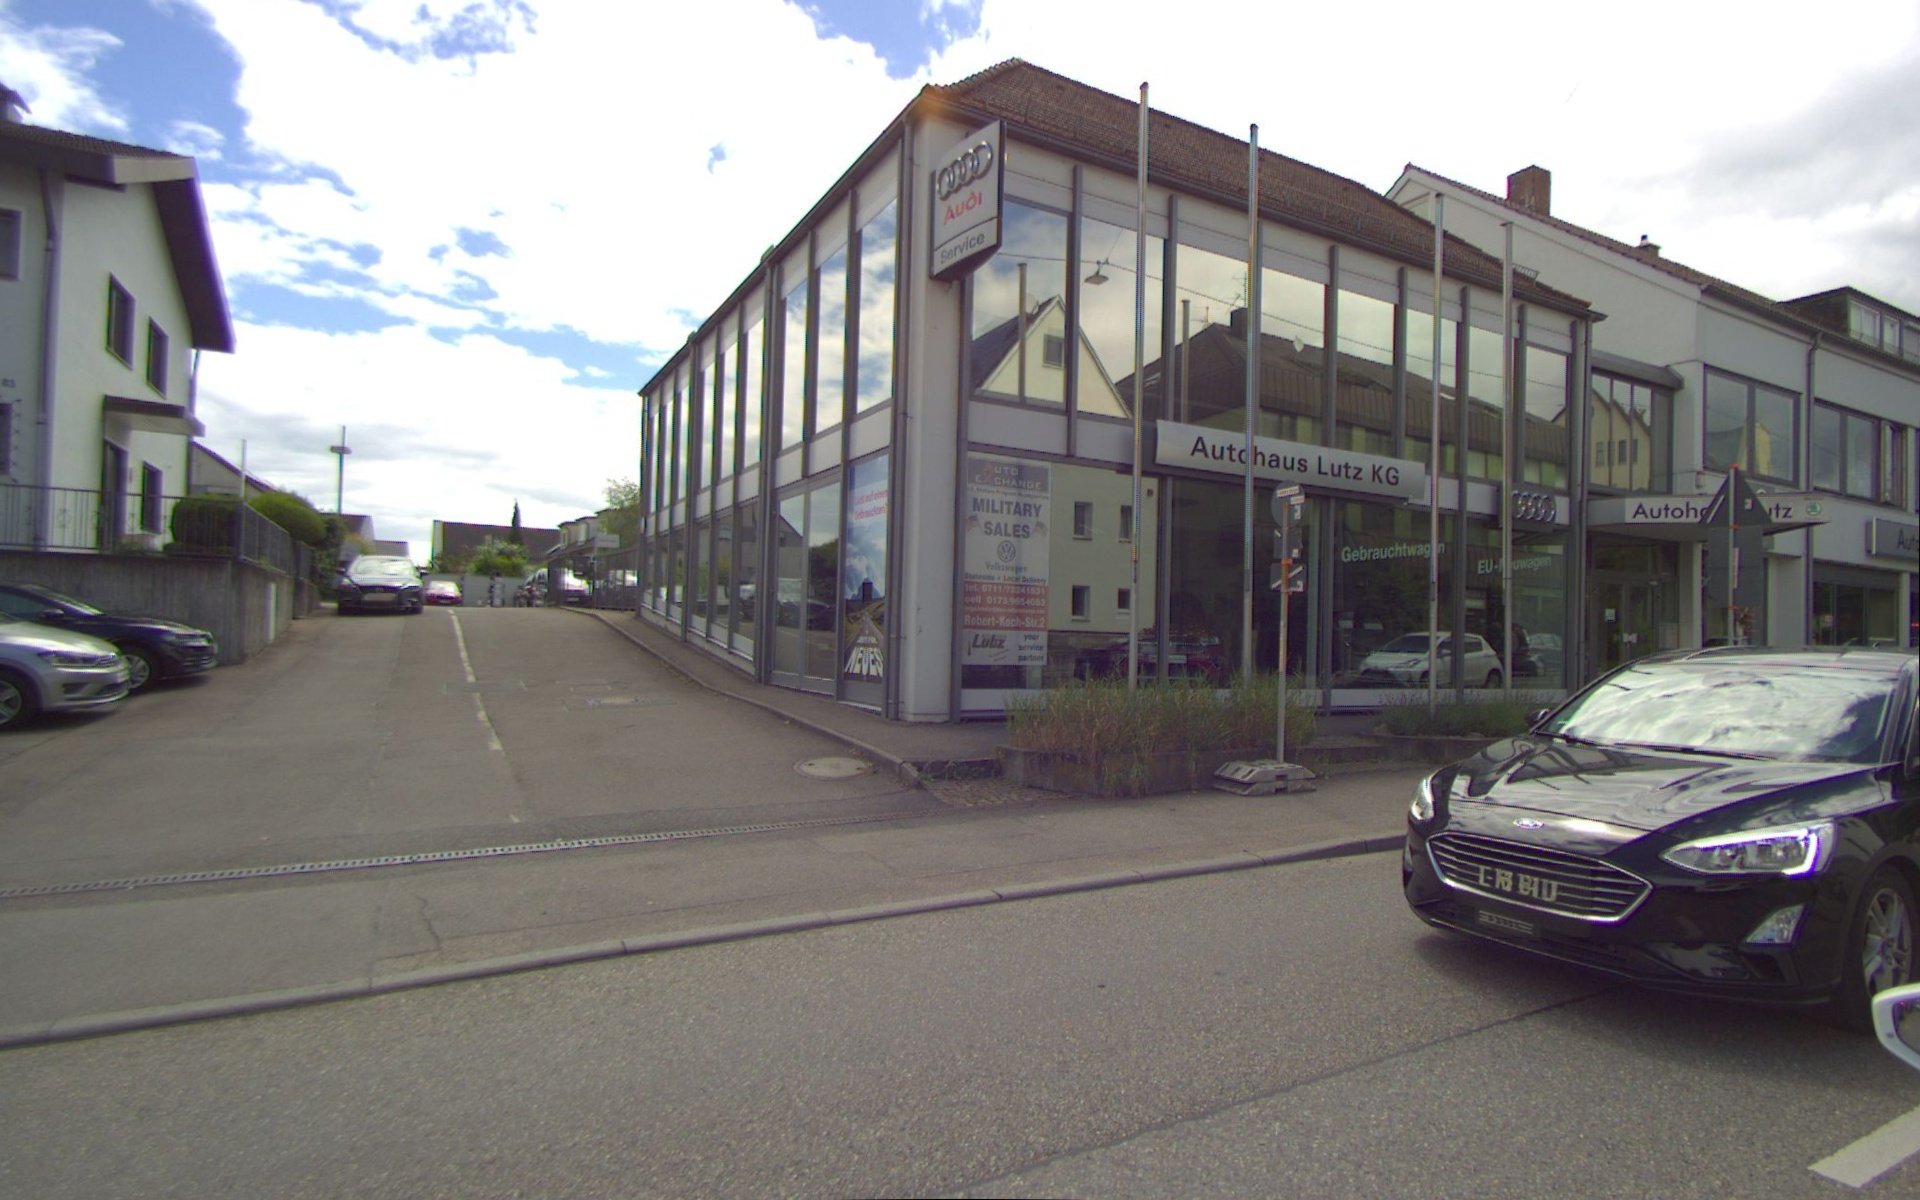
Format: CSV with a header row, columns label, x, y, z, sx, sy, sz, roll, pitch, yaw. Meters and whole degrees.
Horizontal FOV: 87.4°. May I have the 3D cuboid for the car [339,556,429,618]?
label,x,y,z,sx,sy,sz,roll,pitch,yaw
car,-14.654,-0.367,25.738,1.834,1.463,3.775,0,2,-28

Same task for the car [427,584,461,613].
label,x,y,z,sx,sy,sz,roll,pitch,yaw
car,-27.856,-0.112,54.218,1.592,1.463,3.775,0,2,-28

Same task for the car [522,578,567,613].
label,x,y,z,sx,sy,sz,roll,pitch,yaw
car,-19.078,-0.230,46.053,1.592,1.463,3.775,0,2,-28

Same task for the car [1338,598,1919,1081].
label,x,y,z,sx,sy,sz,roll,pitch,yaw
car,4.047,0.854,5.049,4.121,1.543,1.823,2,-2,-30

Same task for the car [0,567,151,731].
label,x,y,z,sx,sy,sz,roll,pitch,yaw
car,-11.065,0.466,10.108,4.275,1.606,1.798,0,2,-29

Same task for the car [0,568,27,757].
label,x,y,z,sx,sy,sz,roll,pitch,yaw
car,-8.438,0.565,7.235,1.635,1.652,3.993,1,1,-30

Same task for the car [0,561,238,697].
label,x,y,z,sx,sy,sz,roll,pitch,yaw
car,-11.631,0.316,12.769,3.757,1.606,1.798,0,2,-29
